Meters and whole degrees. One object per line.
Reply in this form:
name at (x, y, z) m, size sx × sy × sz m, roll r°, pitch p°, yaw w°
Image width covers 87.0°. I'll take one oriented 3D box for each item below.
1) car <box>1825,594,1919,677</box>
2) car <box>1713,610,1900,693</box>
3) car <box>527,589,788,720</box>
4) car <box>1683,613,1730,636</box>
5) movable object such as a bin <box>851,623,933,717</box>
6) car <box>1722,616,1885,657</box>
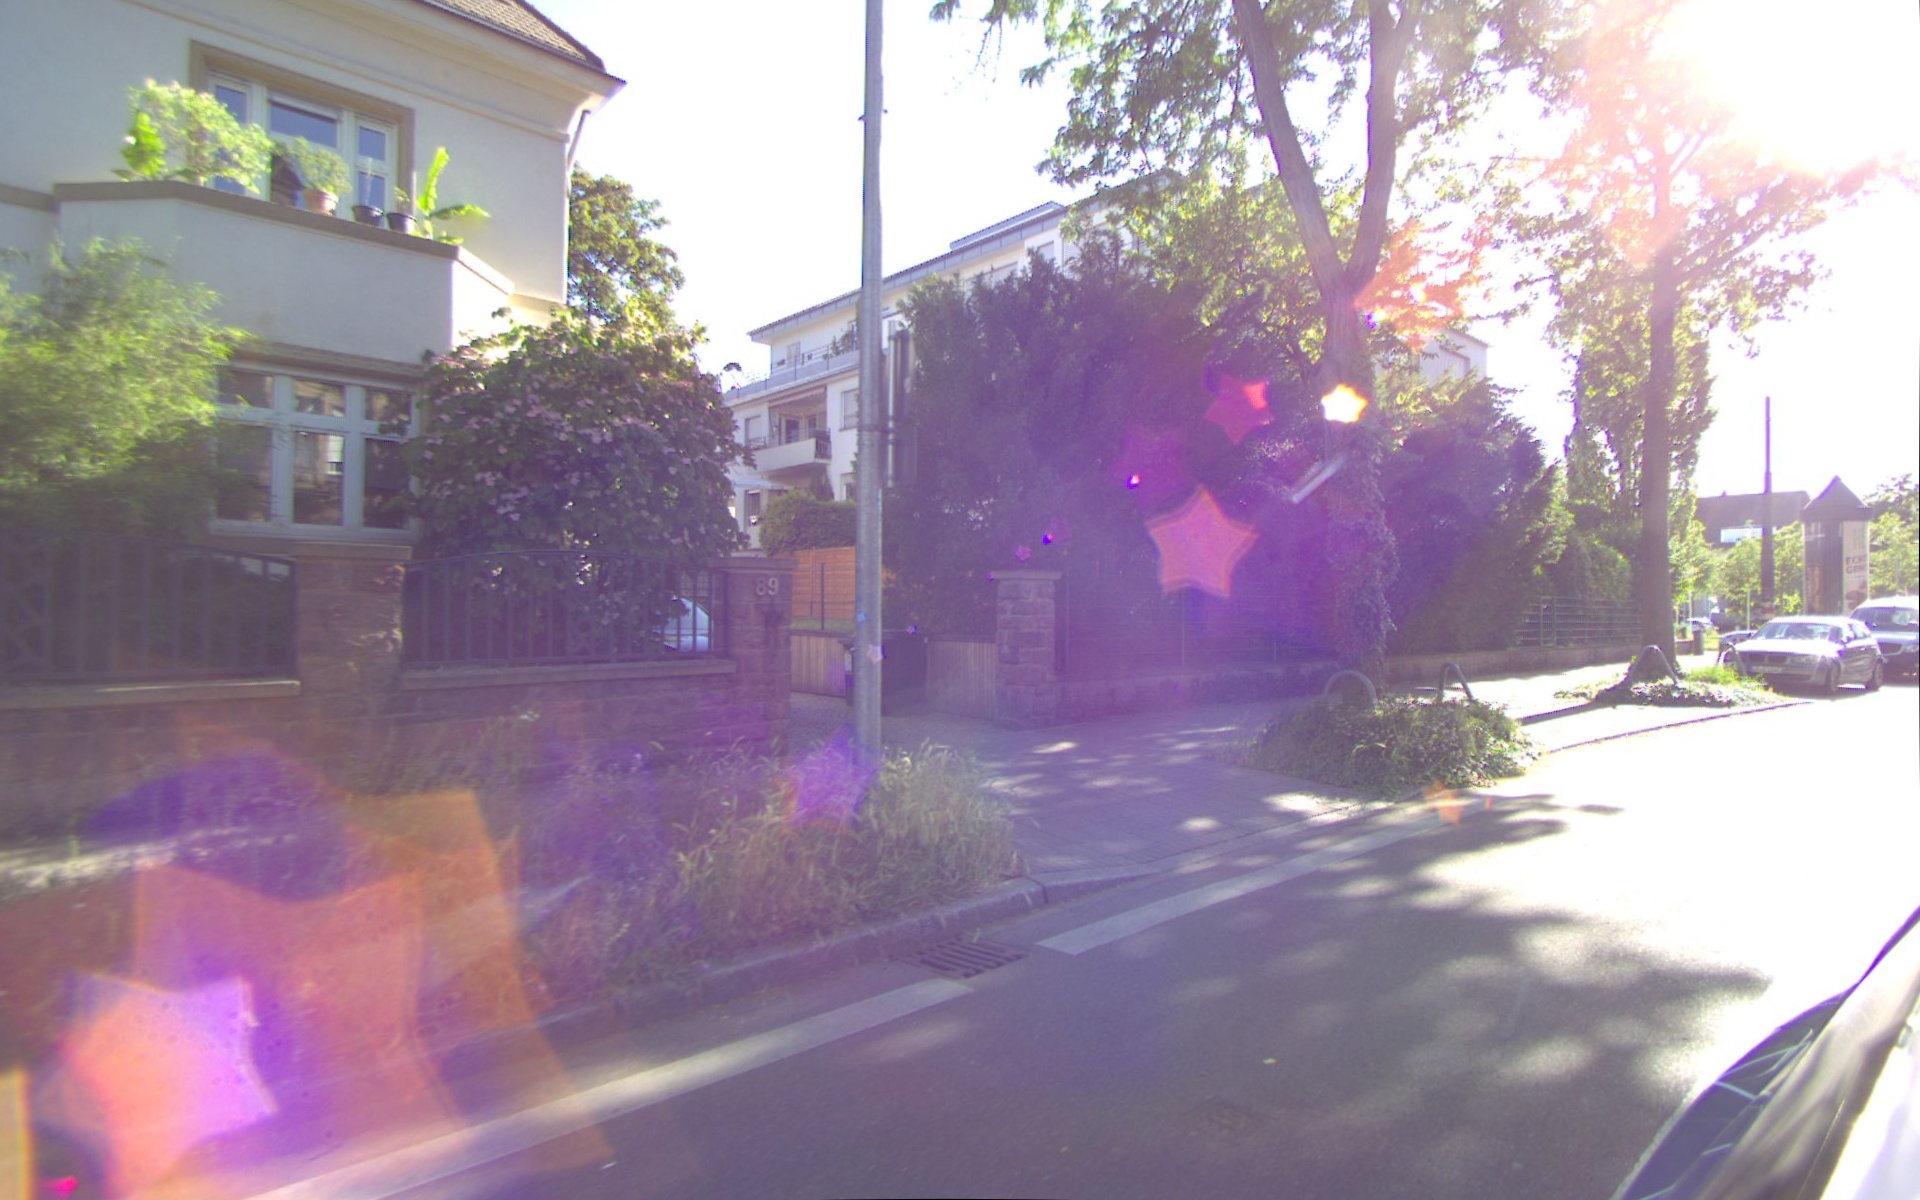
car at (22.010, 0.798, 23.457) m, size 4.663 × 1.769 × 2.028 m, roll 1°, pitch 0°, yaw -37°
car at (17.031, 0.943, 20.306) m, size 4.252 × 1.441 × 1.999 m, roll 0°, pitch 0°, yaw -37°
car at (-4.063, 0.598, 13.209) m, size 1.727 × 1.446 × 3.992 m, roll 1°, pitch 0°, yaw -42°
car at (61.821, 2.020, 83.796) m, size 3.923 × 1.819 × 2.000 m, roll 1°, pitch 0°, yaw -35°
movable object such as a bin at (-0.858, 0.850, 12.700) m, size 0.717 × 1.112 × 0.748 m, roll 1°, pitch -1°, yaw -40°
car at (32.312, 1.359, 38.885) m, size 1.933 × 1.387 × 4.520 m, roll 1°, pitch -1°, yaw -39°
